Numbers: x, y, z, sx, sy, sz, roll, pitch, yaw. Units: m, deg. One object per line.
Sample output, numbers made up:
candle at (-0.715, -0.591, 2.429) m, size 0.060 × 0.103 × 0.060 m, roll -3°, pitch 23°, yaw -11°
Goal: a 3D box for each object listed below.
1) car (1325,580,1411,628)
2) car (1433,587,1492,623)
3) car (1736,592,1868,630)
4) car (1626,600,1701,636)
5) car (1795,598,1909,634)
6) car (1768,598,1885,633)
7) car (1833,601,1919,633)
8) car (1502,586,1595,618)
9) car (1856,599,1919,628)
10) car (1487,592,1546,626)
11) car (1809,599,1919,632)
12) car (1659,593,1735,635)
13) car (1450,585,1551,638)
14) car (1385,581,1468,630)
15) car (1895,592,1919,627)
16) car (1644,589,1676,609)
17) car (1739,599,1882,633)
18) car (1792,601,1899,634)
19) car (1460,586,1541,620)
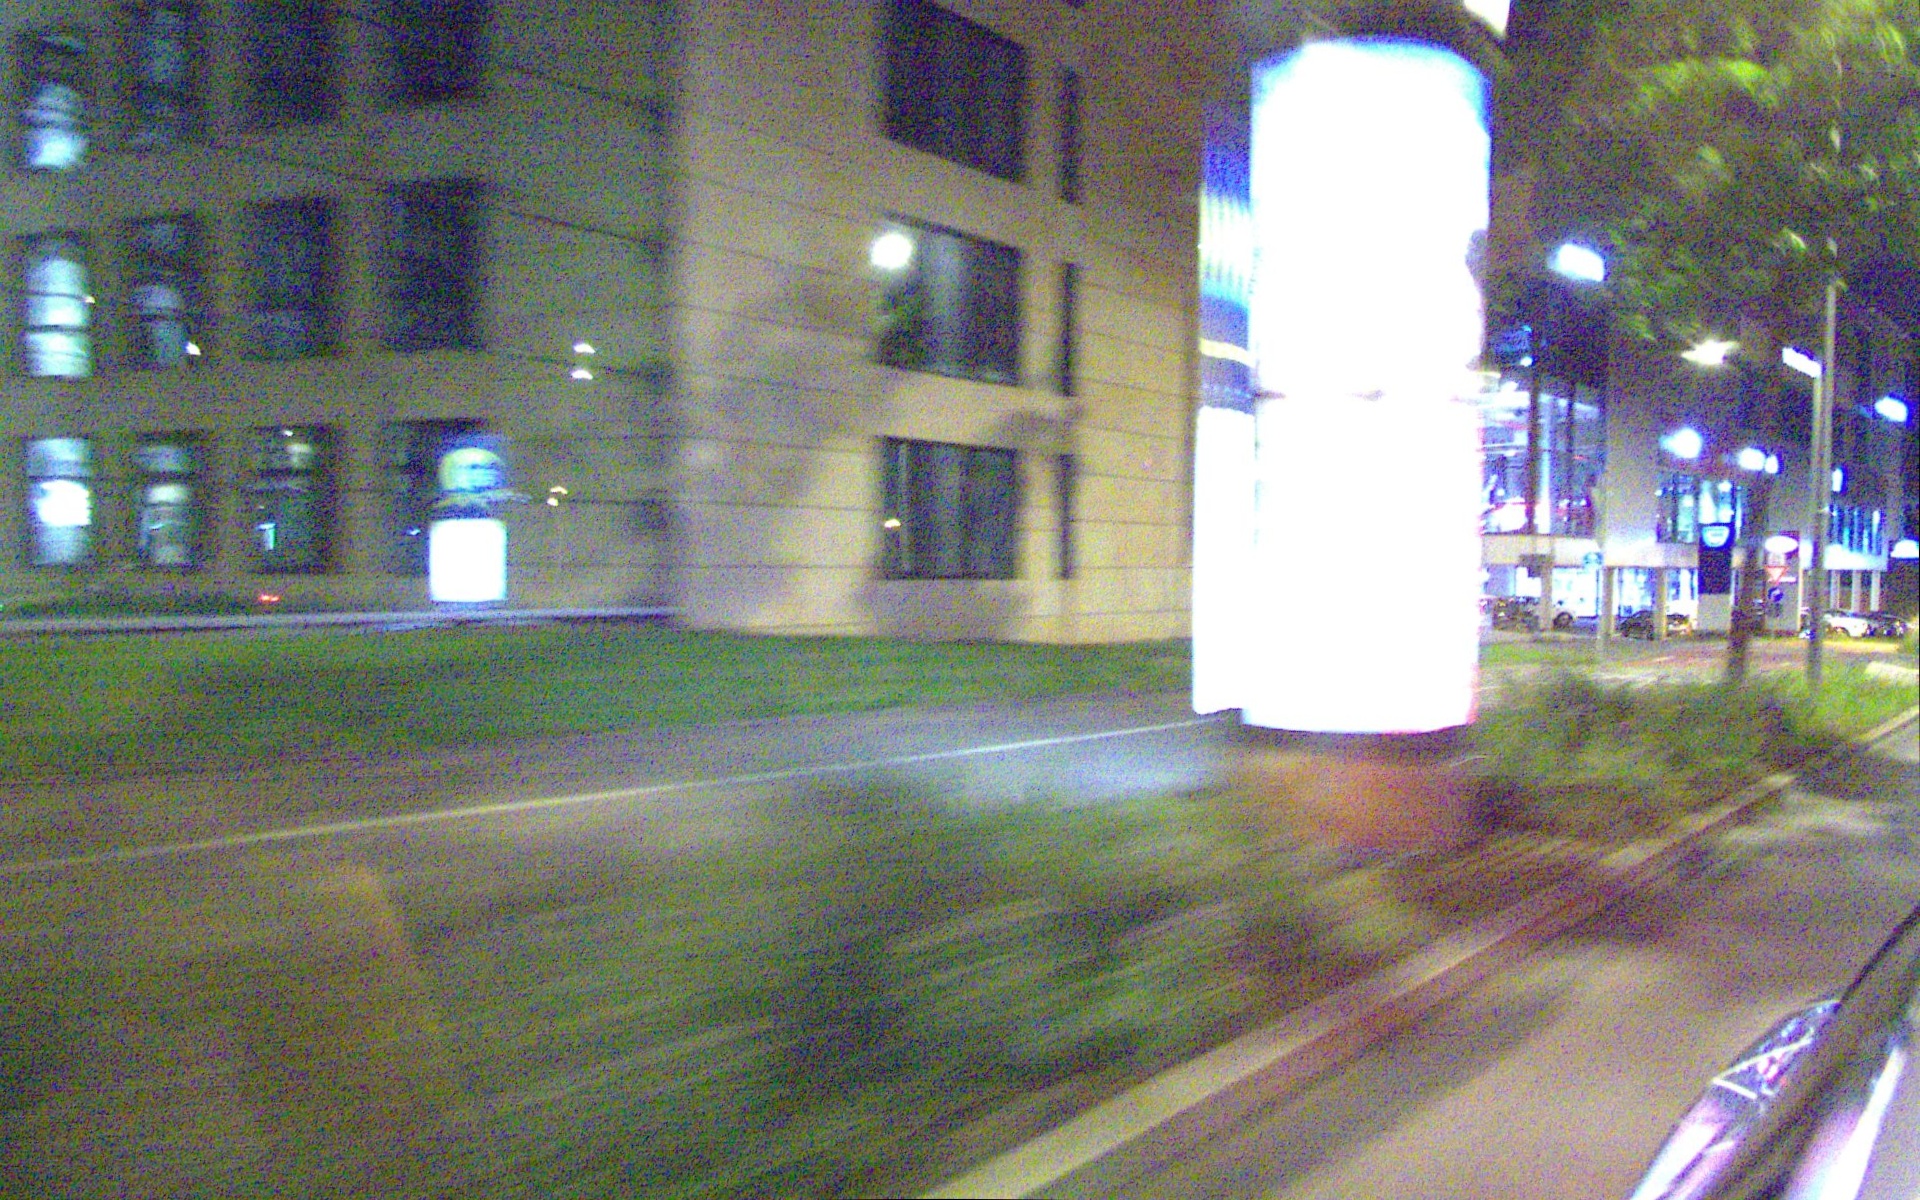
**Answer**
car at (18.275, 0.184, 45.256) m, size 4.335 × 2.019 × 1.953 m, roll 1°, pitch 0°, yaw -44°
car at (26.204, 0.221, 52.754) m, size 3.245 × 1.661 × 1.636 m, roll -1°, pitch 5°, yaw -43°
car at (34.706, 0.436, 41.838) m, size 4.116 × 1.438 × 1.850 m, roll 1°, pitch 0°, yaw 40°
car at (33.286, 0.828, 48.012) m, size 1.755 × 1.426 × 4.314 m, roll 2°, pitch 2°, yaw 19°
car at (44.504, 0.776, 50.627) m, size 3.975 × 1.488 × 1.810 m, roll 5°, pitch 2°, yaw 34°
car at (40.458, 0.712, 47.380) m, size 3.976 × 1.442 × 1.884 m, roll 2°, pitch 0°, yaw 36°
car at (51.185, 0.927, 56.070) m, size 4.017 × 1.390 × 1.801 m, roll 7°, pitch 4°, yaw 38°
car at (33.463, 0.113, 57.691) m, size 4.262 × 1.675 × 1.649 m, roll 1°, pitch 0°, yaw 17°
car at (54.685, 0.819, 58.797) m, size 3.799 × 1.470 × 1.693 m, roll 6°, pitch 3°, yaw 40°
car at (28.295, 0.418, 51.428) m, size 3.359 × 1.531 × 1.635 m, roll -2°, pitch 4°, yaw -43°
car at (46.674, 0.802, 52.322) m, size 3.970 × 1.409 × 1.806 m, roll 5°, pitch 1°, yaw 32°
car at (36.641, 0.638, 50.421) m, size 1.564 × 1.817 × 3.858 m, roll 1°, pitch 3°, yaw 12°
car at (22.369, 0.457, 41.783) m, size 5.532 × 2.039 × 1.996 m, roll 1°, pitch 0°, yaw -43°
car at (20.191, 0.235, 43.722) m, size 4.335 × 2.019 × 1.813 m, roll 1°, pitch 0°, yaw -44°
car at (76.283, 0.996, 77.772) m, size 6.008 × 2.559 × 2.253 m, roll 9°, pitch 4°, yaw 37°
car at (63.083, -0.089, 91.299) m, size 1.984 × 1.682 × 4.617 m, roll 2°, pitch 1°, yaw 30°
car at (38.316, 0.704, 45.761) m, size 4.603 × 1.280 × 1.927 m, roll 2°, pitch 0°, yaw 29°
car at (42.534, 0.804, 48.709) m, size 3.583 × 1.451 × 1.662 m, roll 2°, pitch 0°, yaw 30°
car at (29.574, 0.139, 55.437) m, size 1.716 × 1.604 × 3.491 m, roll -1°, pitch 4°, yaw -36°
